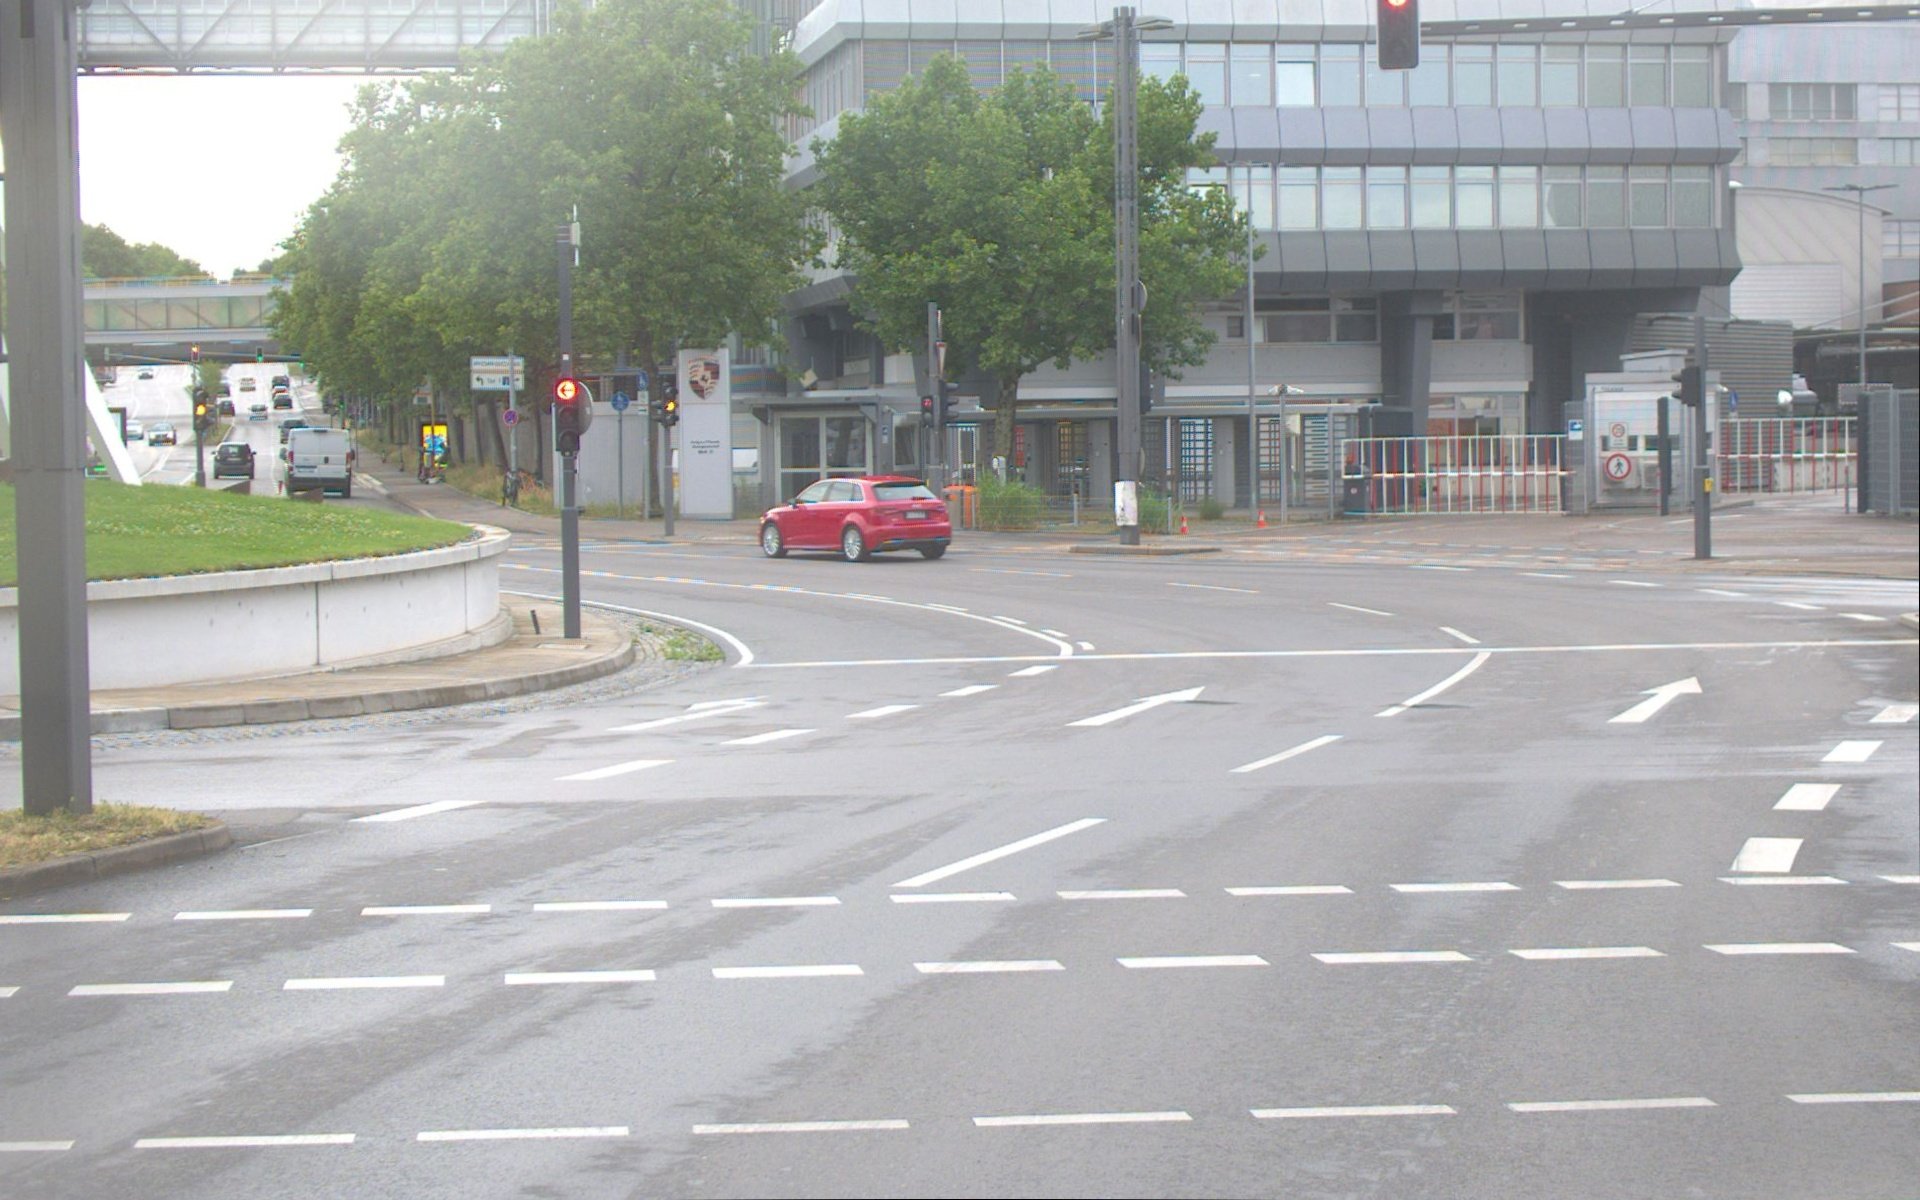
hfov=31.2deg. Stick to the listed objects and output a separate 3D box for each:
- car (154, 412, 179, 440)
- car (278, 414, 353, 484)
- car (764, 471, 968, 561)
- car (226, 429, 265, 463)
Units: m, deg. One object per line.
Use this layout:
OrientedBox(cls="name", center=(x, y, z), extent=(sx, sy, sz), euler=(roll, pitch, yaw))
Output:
OrientedBox(cls="car", center=(-53.811, -11.775, 233.116), extent=(1.627, 1.810, 3.734), euler=(0, 2, -13))
OrientedBox(cls="car", center=(-21.140, -4.913, 112.612), extent=(2.232, 2.100, 4.956), euler=(-1, 0, -12))
OrientedBox(cls="car", center=(-1.633, -1.405, 58.648), extent=(1.773, 1.459, 3.732), euler=(-1, 1, -33))
OrientedBox(cls="car", center=(-30.010, -6.465, 144.364), extent=(1.556, 1.284, 3.415), euler=(-1, 1, -12))
